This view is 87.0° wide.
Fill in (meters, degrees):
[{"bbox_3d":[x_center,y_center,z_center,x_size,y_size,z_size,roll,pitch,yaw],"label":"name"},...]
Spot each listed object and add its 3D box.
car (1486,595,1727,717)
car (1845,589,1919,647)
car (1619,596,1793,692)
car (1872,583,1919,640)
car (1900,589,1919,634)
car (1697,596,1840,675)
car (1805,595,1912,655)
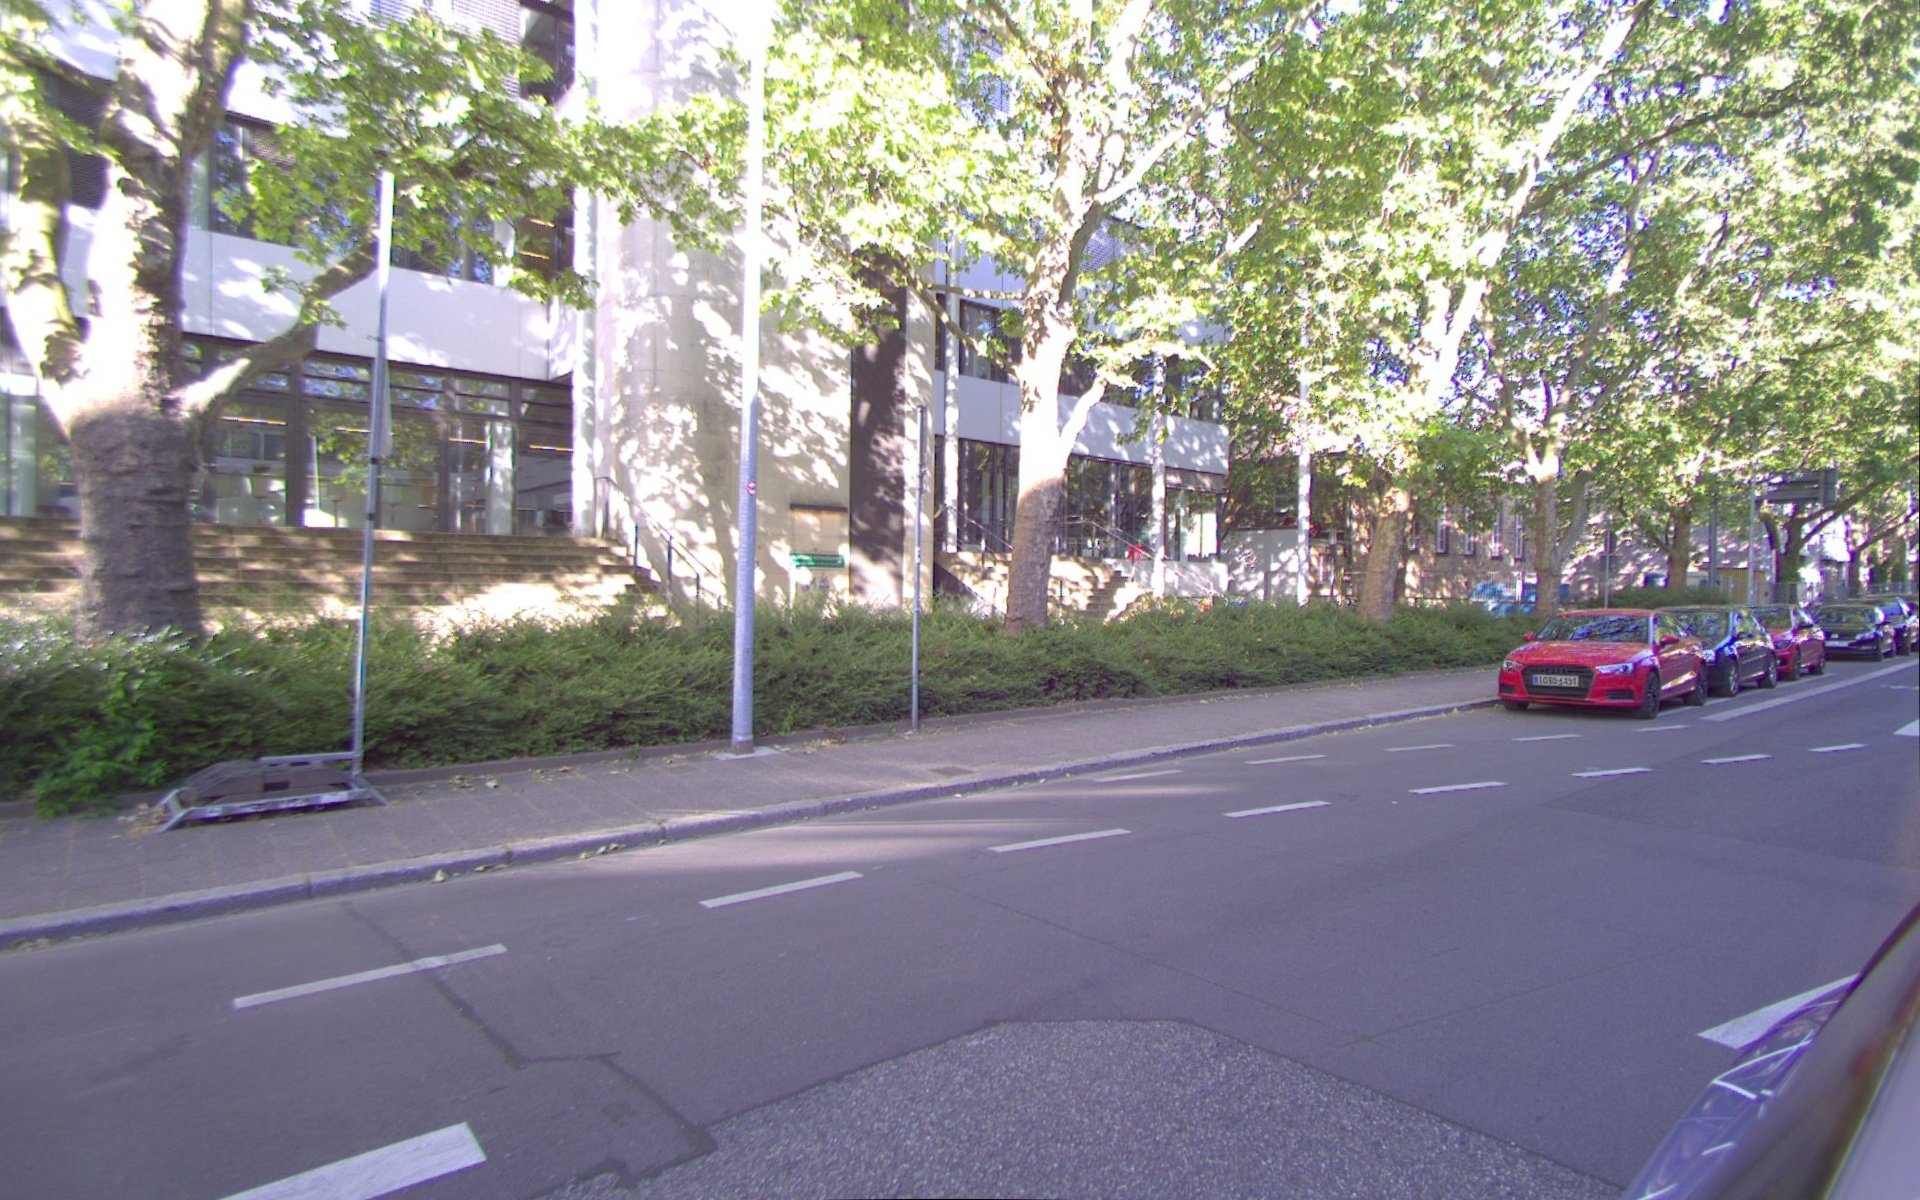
[{"bbox_3d":[9.257,0.688,14.372,4.053,1.483,1.802,0,-1,-41],"label":"car"},{"bbox_3d":[27.568,0.489,29.907,3.777,1.607,1.634,0,-1,-41],"label":"car"},{"bbox_3d":[12.899,0.676,17.437,3.674,1.483,1.634,0,-1,-41],"label":"car"},{"bbox_3d":[31.910,0.368,33.825,3.777,1.828,1.634,0,-1,-41],"label":"car"},{"bbox_3d":[36.806,0.408,38.104,3.777,1.675,1.634,0,-1,-41],"label":"car"},{"bbox_3d":[16.580,0.661,20.701,3.674,1.483,1.634,0,-1,-41],"label":"car"},{"bbox_3d":[23.763,0.613,26.721,3.674,1.483,1.634,0,-1,-41],"label":"car"}]
